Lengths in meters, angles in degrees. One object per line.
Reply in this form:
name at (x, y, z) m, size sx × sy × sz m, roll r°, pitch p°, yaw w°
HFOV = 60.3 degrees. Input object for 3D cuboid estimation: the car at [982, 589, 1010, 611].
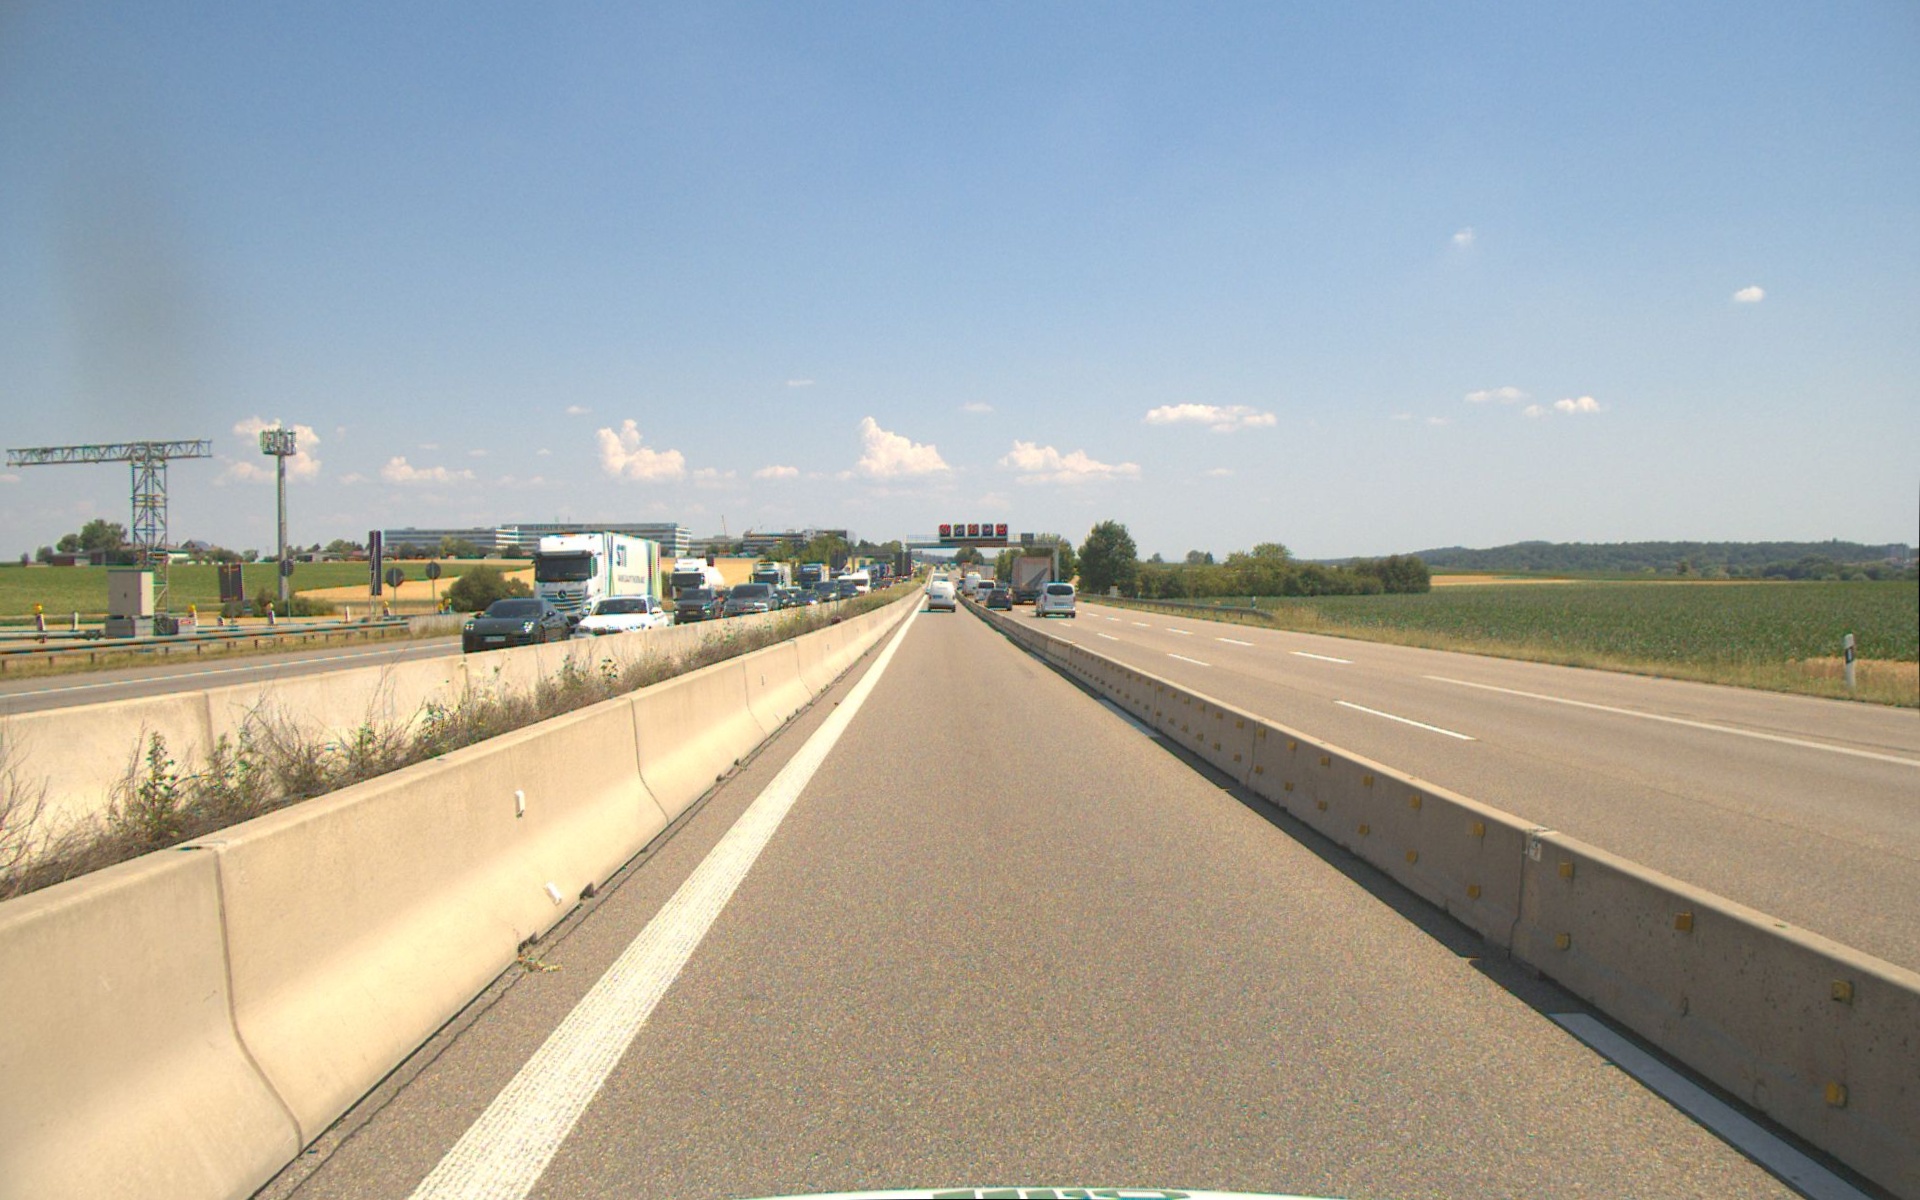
car at (2.405, 0.023, 112.447) m, size 1.737 × 1.472 × 3.999 m, roll 0°, pitch 0°, yaw -1°

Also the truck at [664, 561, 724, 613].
truck at (-21.327, -1.102, 133.397) m, size 2.841 × 3.842 × 13.284 m, roll -3°, pitch 1°, yaw -2°

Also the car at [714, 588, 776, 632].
car at (-8.247, 0.360, 63.827) m, size 1.852 × 1.645 × 4.820 m, roll 0°, pitch 0°, yaw -1°

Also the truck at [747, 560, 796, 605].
truck at (-16.596, -1.519, 146.346) m, size 2.738 × 3.672 × 13.288 m, roll -3°, pitch 1°, yaw 0°

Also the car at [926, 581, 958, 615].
car at (-1.123, -0.131, 101.908) m, size 1.953 × 2.049 × 3.999 m, roll 0°, pitch 0°, yaw -1°

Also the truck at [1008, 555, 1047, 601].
truck at (5.965, -1.946, 146.755) m, size 3.204 × 4.036 × 4.911 m, roll 0°, pitch 0°, yaw -1°

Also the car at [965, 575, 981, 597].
car at (1.471, -1.593, 187.580) m, size 1.737 × 2.434 × 3.999 m, roll 0°, pitch 0°, yaw -1°

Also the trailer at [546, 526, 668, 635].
trailer at (-15.944, -0.890, 75.841) m, size 2.834 × 4.451 × 12.991 m, roll -2°, pitch 0°, yaw -1°

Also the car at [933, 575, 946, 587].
car at (-3.079, -2.816, 247.355) m, size 1.953 × 1.867 × 3.999 m, roll 0°, pitch 0°, yaw -1°

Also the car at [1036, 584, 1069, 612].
car at (6.246, -0.121, 111.740) m, size 1.953 × 1.825 × 3.999 m, roll 0°, pitch 0°, yaw -1°

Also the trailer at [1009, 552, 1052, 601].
trailer at (6.040, -1.959, 142.692) m, size 3.211 × 4.036 × 9.111 m, roll 0°, pitch 0°, yaw -1°

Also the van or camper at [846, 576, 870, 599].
van or camper at (-10.051, -1.261, 163.019) m, size 1.994 × 2.260 × 7.206 m, roll 1°, pitch 1°, yaw -1°

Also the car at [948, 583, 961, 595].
car at (-0.903, -1.663, 259.711) m, size 1.953 × 1.867 × 3.999 m, roll 0°, pitch 0°, yaw -1°

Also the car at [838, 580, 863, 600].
car at (-8.963, -0.807, 135.519) m, size 1.746 × 1.617 × 4.540 m, roll 0°, pitch 1°, yaw -1°

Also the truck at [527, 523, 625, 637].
truck at (-15.845, -0.831, 68.530) m, size 2.812 × 4.451 × 4.902 m, roll -2°, pitch 0°, yaw -1°

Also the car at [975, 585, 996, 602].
car at (2.282, -0.593, 146.729) m, size 1.737 × 1.472 × 3.999 m, roll 0°, pitch 0°, yaw -1°

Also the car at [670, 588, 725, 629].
car at (-11.962, 0.365, 75.504) m, size 1.953 × 1.847 × 3.999 m, roll 0°, pitch 0°, yaw -1°

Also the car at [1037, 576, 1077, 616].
car at (5.386, -0.221, 92.121) m, size 1.953 × 2.157 × 3.999 m, roll 0°, pitch 0°, yaw -1°

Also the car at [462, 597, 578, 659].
car at (-11.444, 0.680, 43.364) m, size 1.775 × 1.512 × 4.962 m, roll 0°, pitch 0°, yaw -1°

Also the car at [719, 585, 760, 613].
car at (-12.696, -0.076, 95.487) m, size 1.809 × 1.508 × 4.921 m, roll 0°, pitch 1°, yaw -1°

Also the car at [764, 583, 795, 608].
car at (-12.409, -0.307, 113.880) m, size 1.622 × 1.680 × 4.664 m, roll 0°, pitch 1°, yaw -1°

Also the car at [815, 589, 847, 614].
car at (-8.633, 0.089, 111.061) m, size 1.806 × 1.597 × 5.344 m, roll 0°, pitch 1°, yaw -1°

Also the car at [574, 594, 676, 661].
car at (-8.097, 0.633, 40.290) m, size 1.641 × 1.545 × 4.507 m, roll 0°, pitch 0°, yaw -1°

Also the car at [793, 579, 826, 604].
car at (-8.745, -0.509, 96.309) m, size 1.622 × 1.375 × 4.266 m, roll 0°, pitch 1°, yaw -1°

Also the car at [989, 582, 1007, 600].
car at (4.477, -1.057, 195.297) m, size 1.953 × 2.049 × 3.999 m, roll 0°, pitch 0°, yaw -1°
